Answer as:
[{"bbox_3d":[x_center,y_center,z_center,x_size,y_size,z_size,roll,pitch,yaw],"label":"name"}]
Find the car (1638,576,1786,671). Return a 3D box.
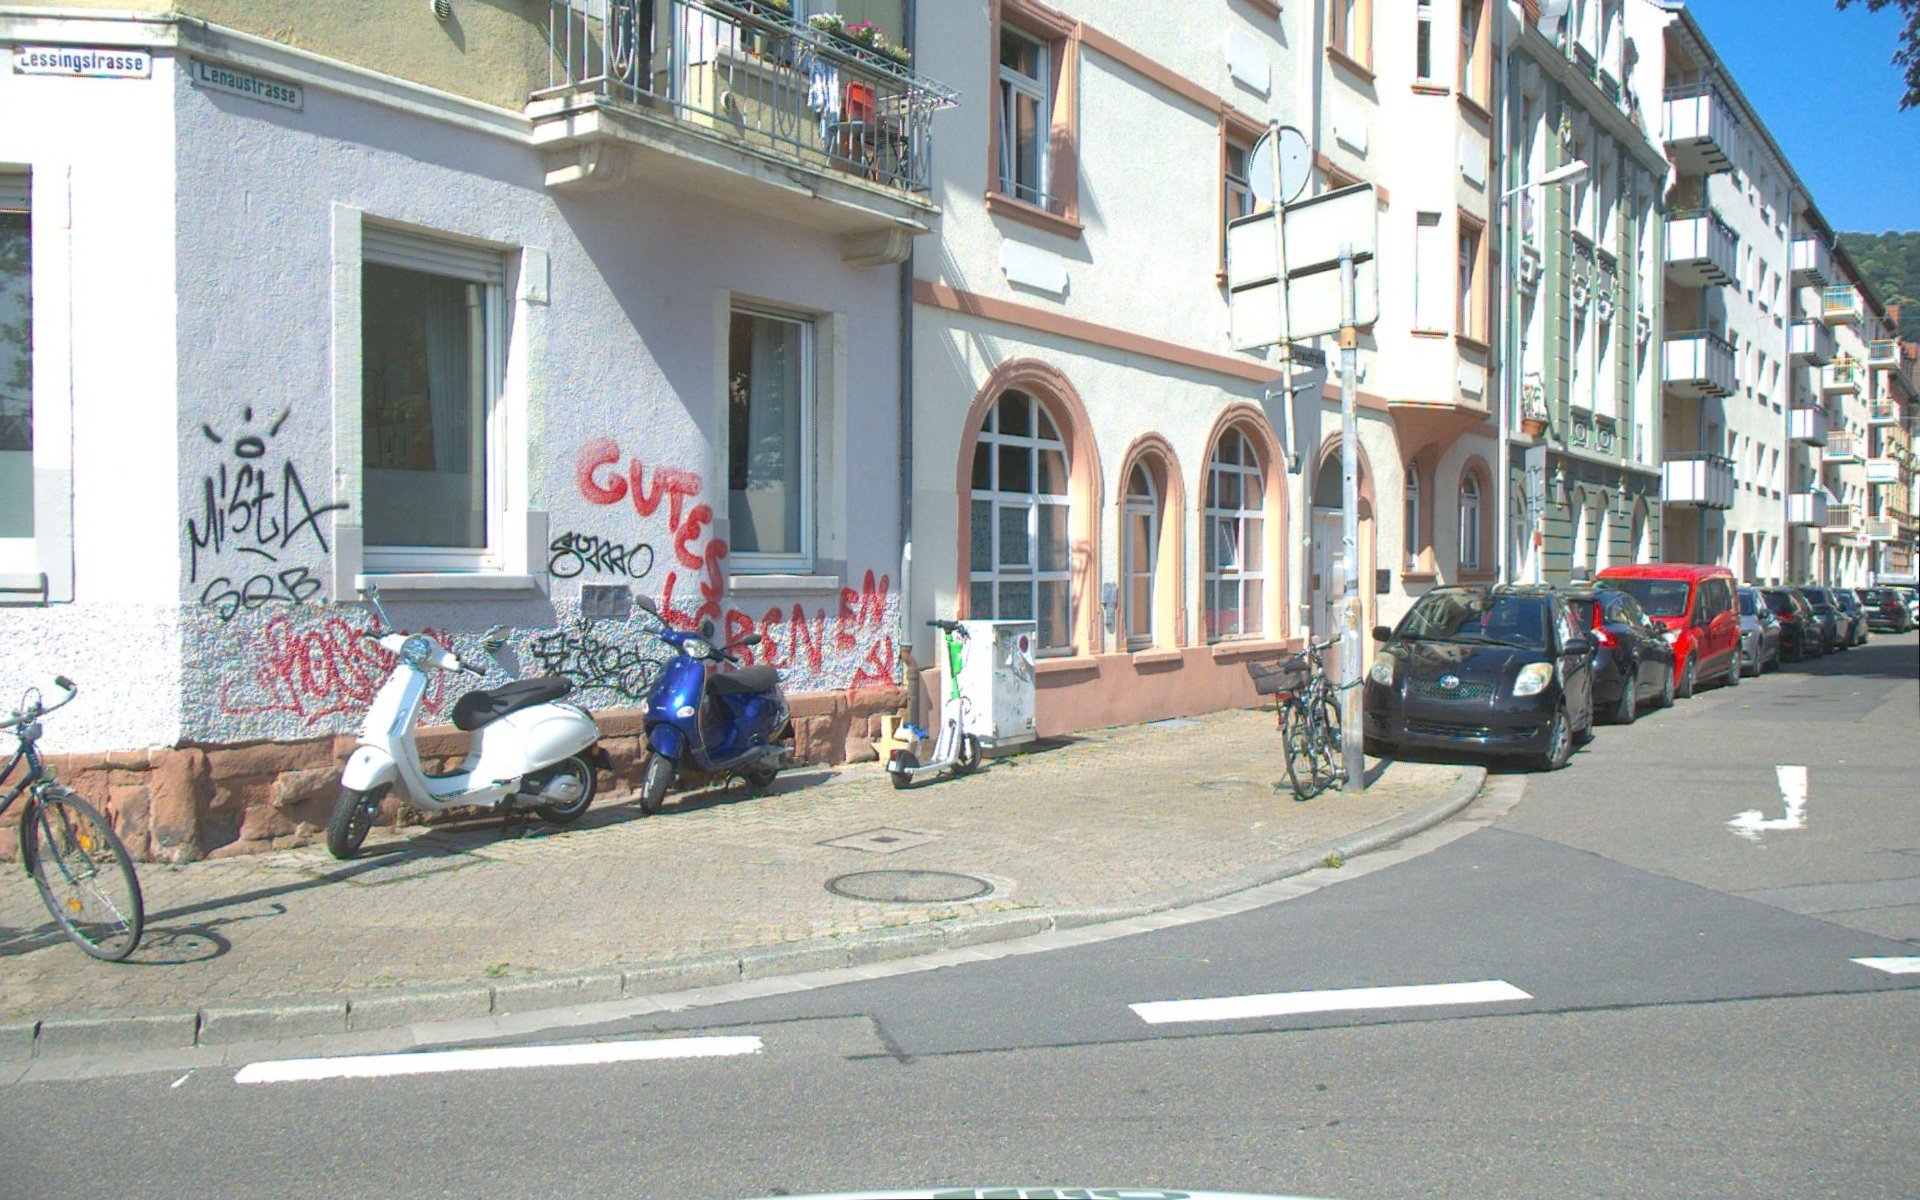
[{"bbox_3d":[13.202,0.352,28.928,1.830,1.512,3.990,1,1,32],"label":"car"}]

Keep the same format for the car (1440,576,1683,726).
[{"bbox_3d":[7.256,0.517,19.703,1.946,1.569,4.053,0,1,32],"label":"car"}]

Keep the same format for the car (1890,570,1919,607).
[{"bbox_3d":[39.537,-0.483,67.968,1.959,1.504,3.987,1,1,34],"label":"car"}]

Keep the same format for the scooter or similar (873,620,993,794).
[{"bbox_3d":[-0.179,0.749,12.112,0.268,1.147,1.447,2,2,24],"label":"scooter or similar"}]

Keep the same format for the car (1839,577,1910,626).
[{"bbox_3d":[29.966,0.029,54.155,1.829,1.512,3.853,1,1,32],"label":"car"}]

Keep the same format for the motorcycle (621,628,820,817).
[{"bbox_3d":[-1.552,0.768,10.912,0.420,1.113,1.445,2,2,34],"label":"motorcycle"}]

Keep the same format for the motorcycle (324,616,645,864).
[{"bbox_3d":[-2.595,0.722,9.208,0.465,1.170,1.755,3,4,41],"label":"motorcycle"}]

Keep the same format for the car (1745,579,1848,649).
[{"bbox_3d":[19.620,0.287,38.714,1.829,1.512,3.990,1,1,32],"label":"car"}]

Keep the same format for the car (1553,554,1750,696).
[{"bbox_3d":[10.169,0.290,24.146,1.834,1.873,4.212,1,1,35],"label":"car"}]

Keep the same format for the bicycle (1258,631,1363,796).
[{"bbox_3d":[2.623,0.791,12.267,0.611,1.052,1.884,0,1,17],"label":"bicycle"}]

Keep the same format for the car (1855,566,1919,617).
[{"bbox_3d":[33.433,-0.338,59.615,1.829,1.752,3.853,1,1,32],"label":"car"}]

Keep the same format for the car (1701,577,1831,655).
[{"bbox_3d":[16.851,0.280,34.484,1.831,1.512,3.986,1,1,35],"label":"car"}]

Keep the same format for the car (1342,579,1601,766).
[{"bbox_3d":[4.852,0.553,15.353,1.785,1.472,3.766,0,1,25],"label":"car"}]

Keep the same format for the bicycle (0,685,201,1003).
[{"bbox_3d":[-3.840,0.902,6.205,1.698,1.106,0.577,0,1,-11],"label":"bicycle"}]
